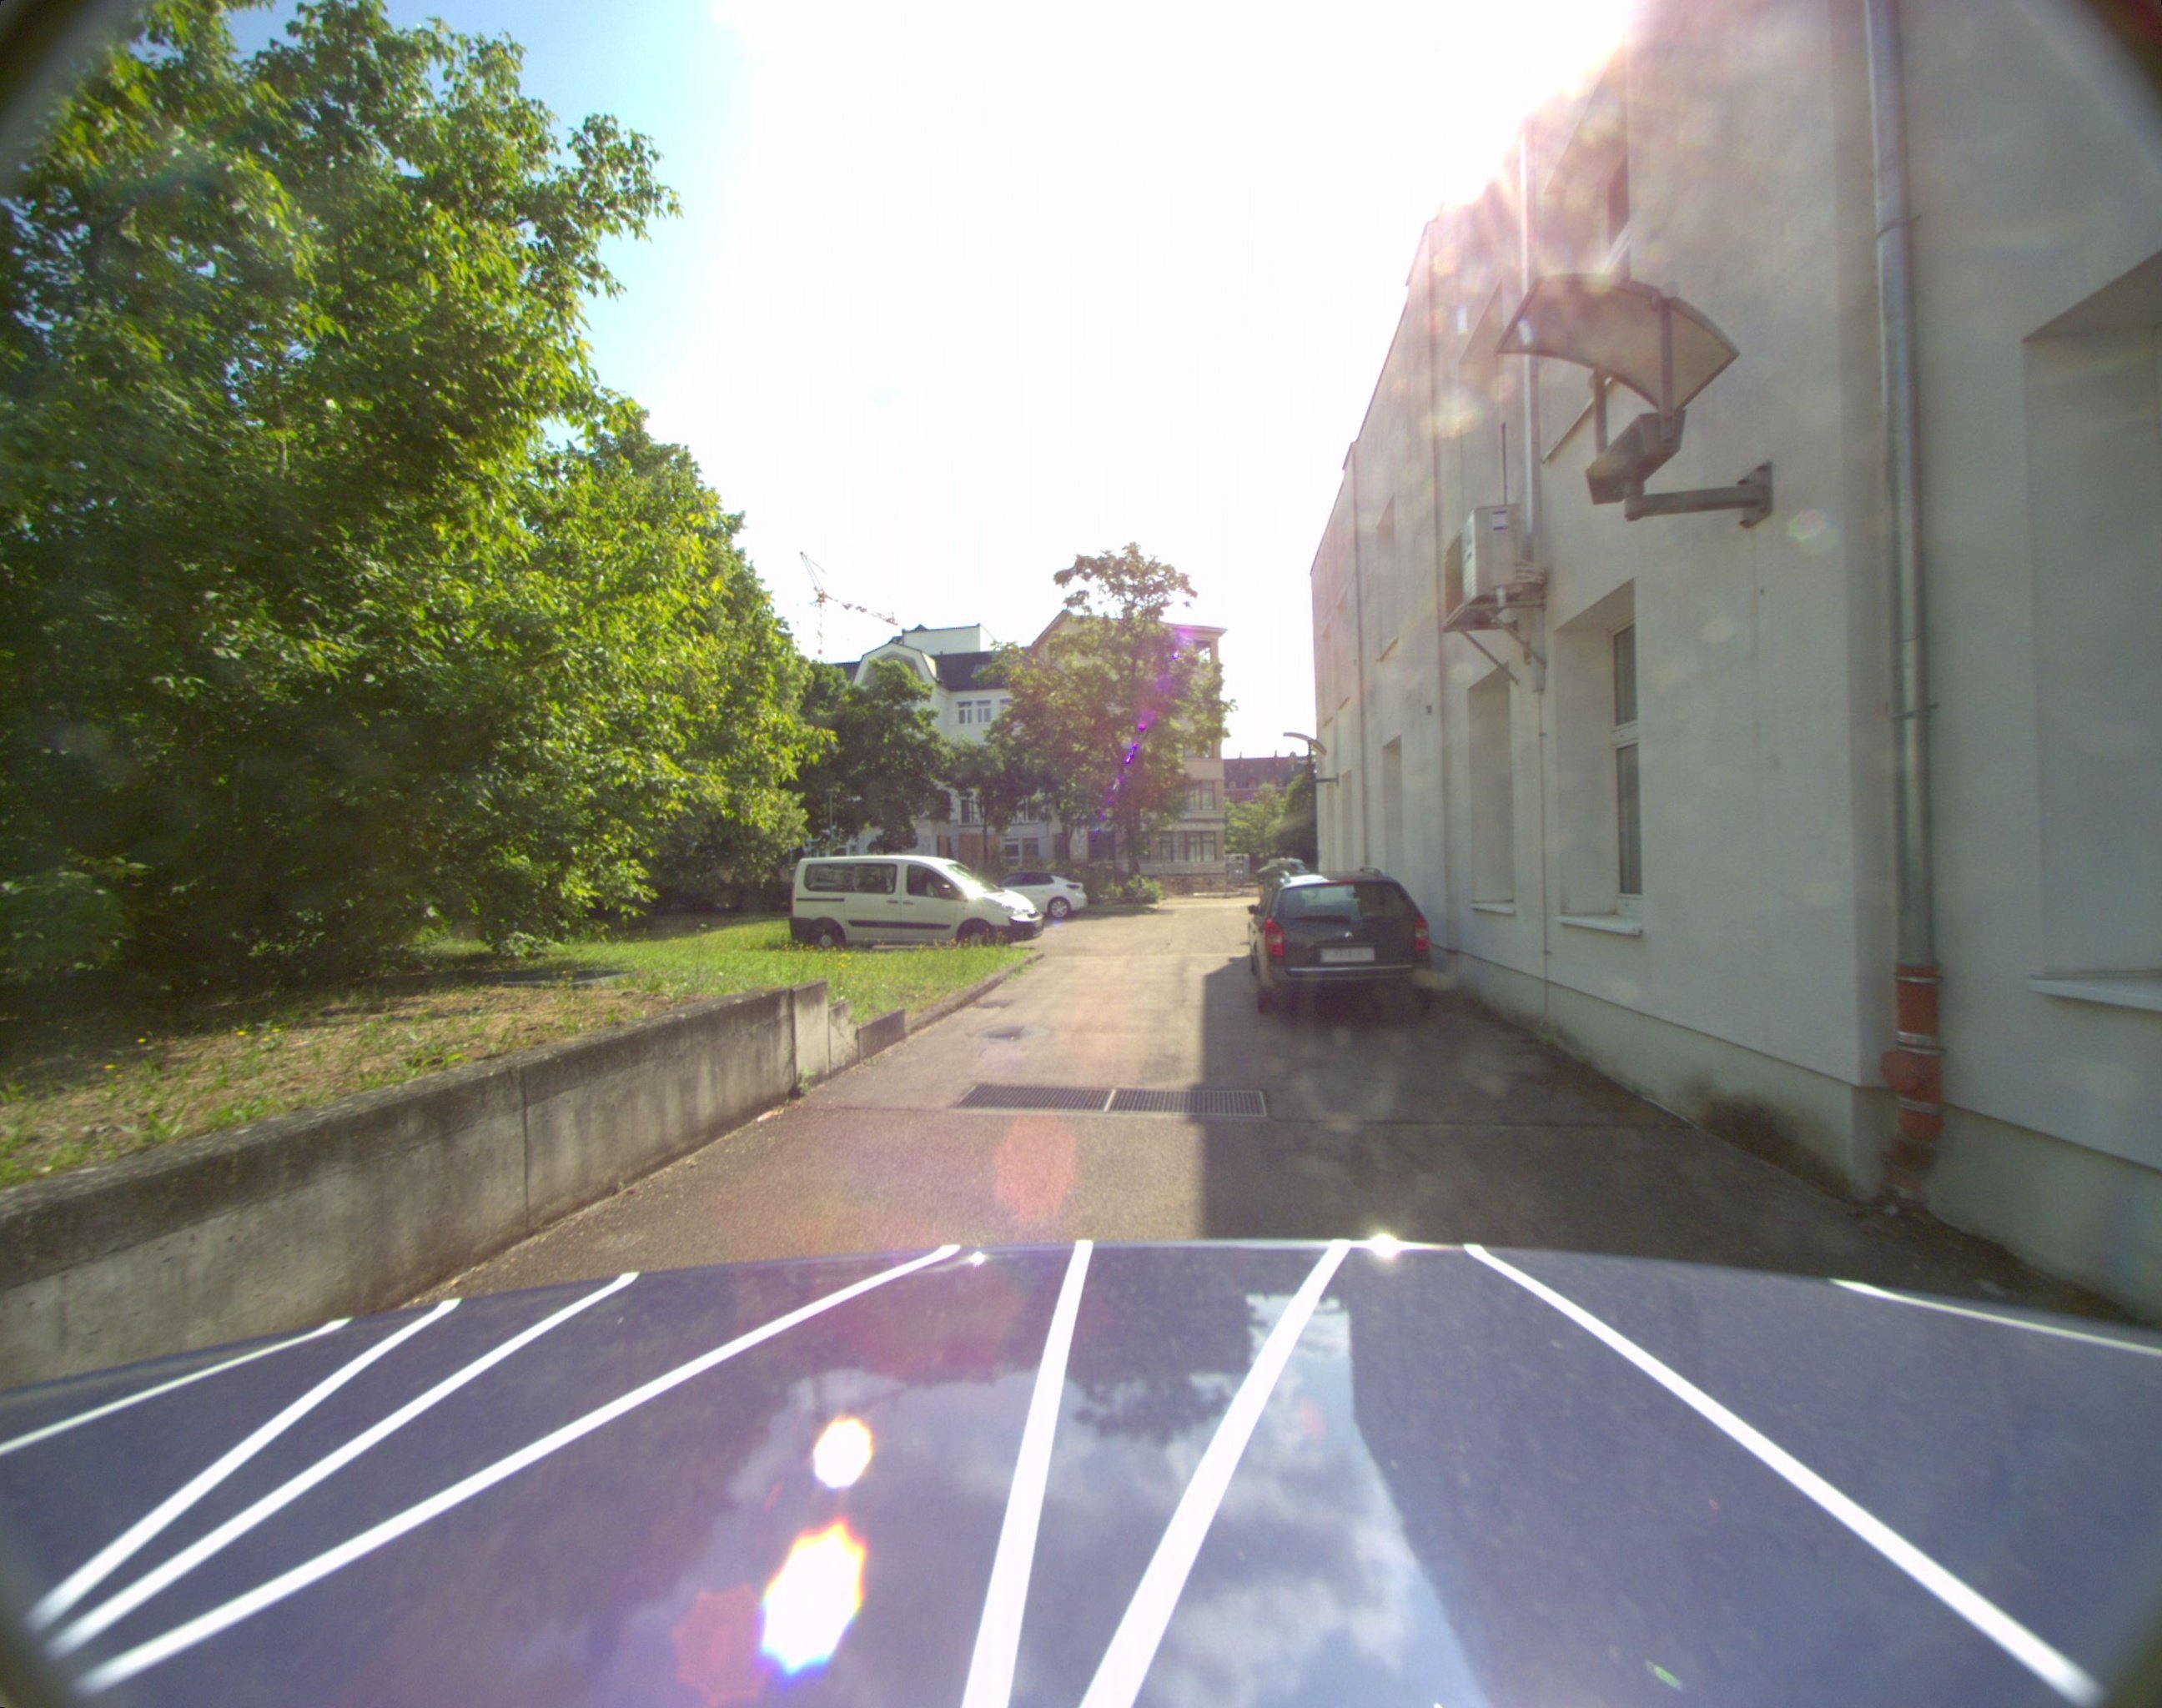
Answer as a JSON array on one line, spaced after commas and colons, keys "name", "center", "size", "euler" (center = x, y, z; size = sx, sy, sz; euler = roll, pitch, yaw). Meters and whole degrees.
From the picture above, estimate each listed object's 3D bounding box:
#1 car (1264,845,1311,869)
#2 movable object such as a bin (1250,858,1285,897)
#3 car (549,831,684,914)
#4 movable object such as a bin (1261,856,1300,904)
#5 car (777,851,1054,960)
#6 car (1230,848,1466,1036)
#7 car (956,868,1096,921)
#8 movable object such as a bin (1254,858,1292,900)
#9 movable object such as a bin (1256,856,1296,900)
[{"name": "car", "center": [20.676, 0.242, 76.188], "size": [2.001, 2.003, 5.297], "euler": [-1, 4, -17]}, {"name": "movable object such as a bin", "center": [7.178, 0.889, 29.339], "size": [1.101, 1.443, 1.343], "euler": [-2, 1, 6]}, {"name": "car", "center": [-19.029, 0.670, 31.654], "size": [2.000, 3.030, 6.970], "euler": [-1, 0, -7]}, {"name": "movable object such as a bin", "center": [6.459, 0.829, 24.679], "size": [1.101, 1.443, 1.344], "euler": [-2, 1, 11]}, {"name": "car", "center": [-3.178, 0.938, 15.044], "size": [4.947, 1.953, 2.001], "euler": [-1, 1, 11]}, {"name": "car", "center": [2.814, 0.798, 8.997], "size": [1.883, 1.434, 4.341], "euler": [-2, 3, 9]}, {"name": "car", "center": [-1.612, 1.181, 23.008], "size": [3.911, 1.412, 1.759], "euler": [0, 2, 8]}, {"name": "movable object such as a bin", "center": [6.985, 0.903, 27.762], "size": [1.102, 1.443, 1.234], "euler": [-3, 1, 4]}, {"name": "movable object such as a bin", "center": [6.685, 0.815, 26.088], "size": [1.226, 1.443, 1.284], "euler": [-2, 0, 12]}]
